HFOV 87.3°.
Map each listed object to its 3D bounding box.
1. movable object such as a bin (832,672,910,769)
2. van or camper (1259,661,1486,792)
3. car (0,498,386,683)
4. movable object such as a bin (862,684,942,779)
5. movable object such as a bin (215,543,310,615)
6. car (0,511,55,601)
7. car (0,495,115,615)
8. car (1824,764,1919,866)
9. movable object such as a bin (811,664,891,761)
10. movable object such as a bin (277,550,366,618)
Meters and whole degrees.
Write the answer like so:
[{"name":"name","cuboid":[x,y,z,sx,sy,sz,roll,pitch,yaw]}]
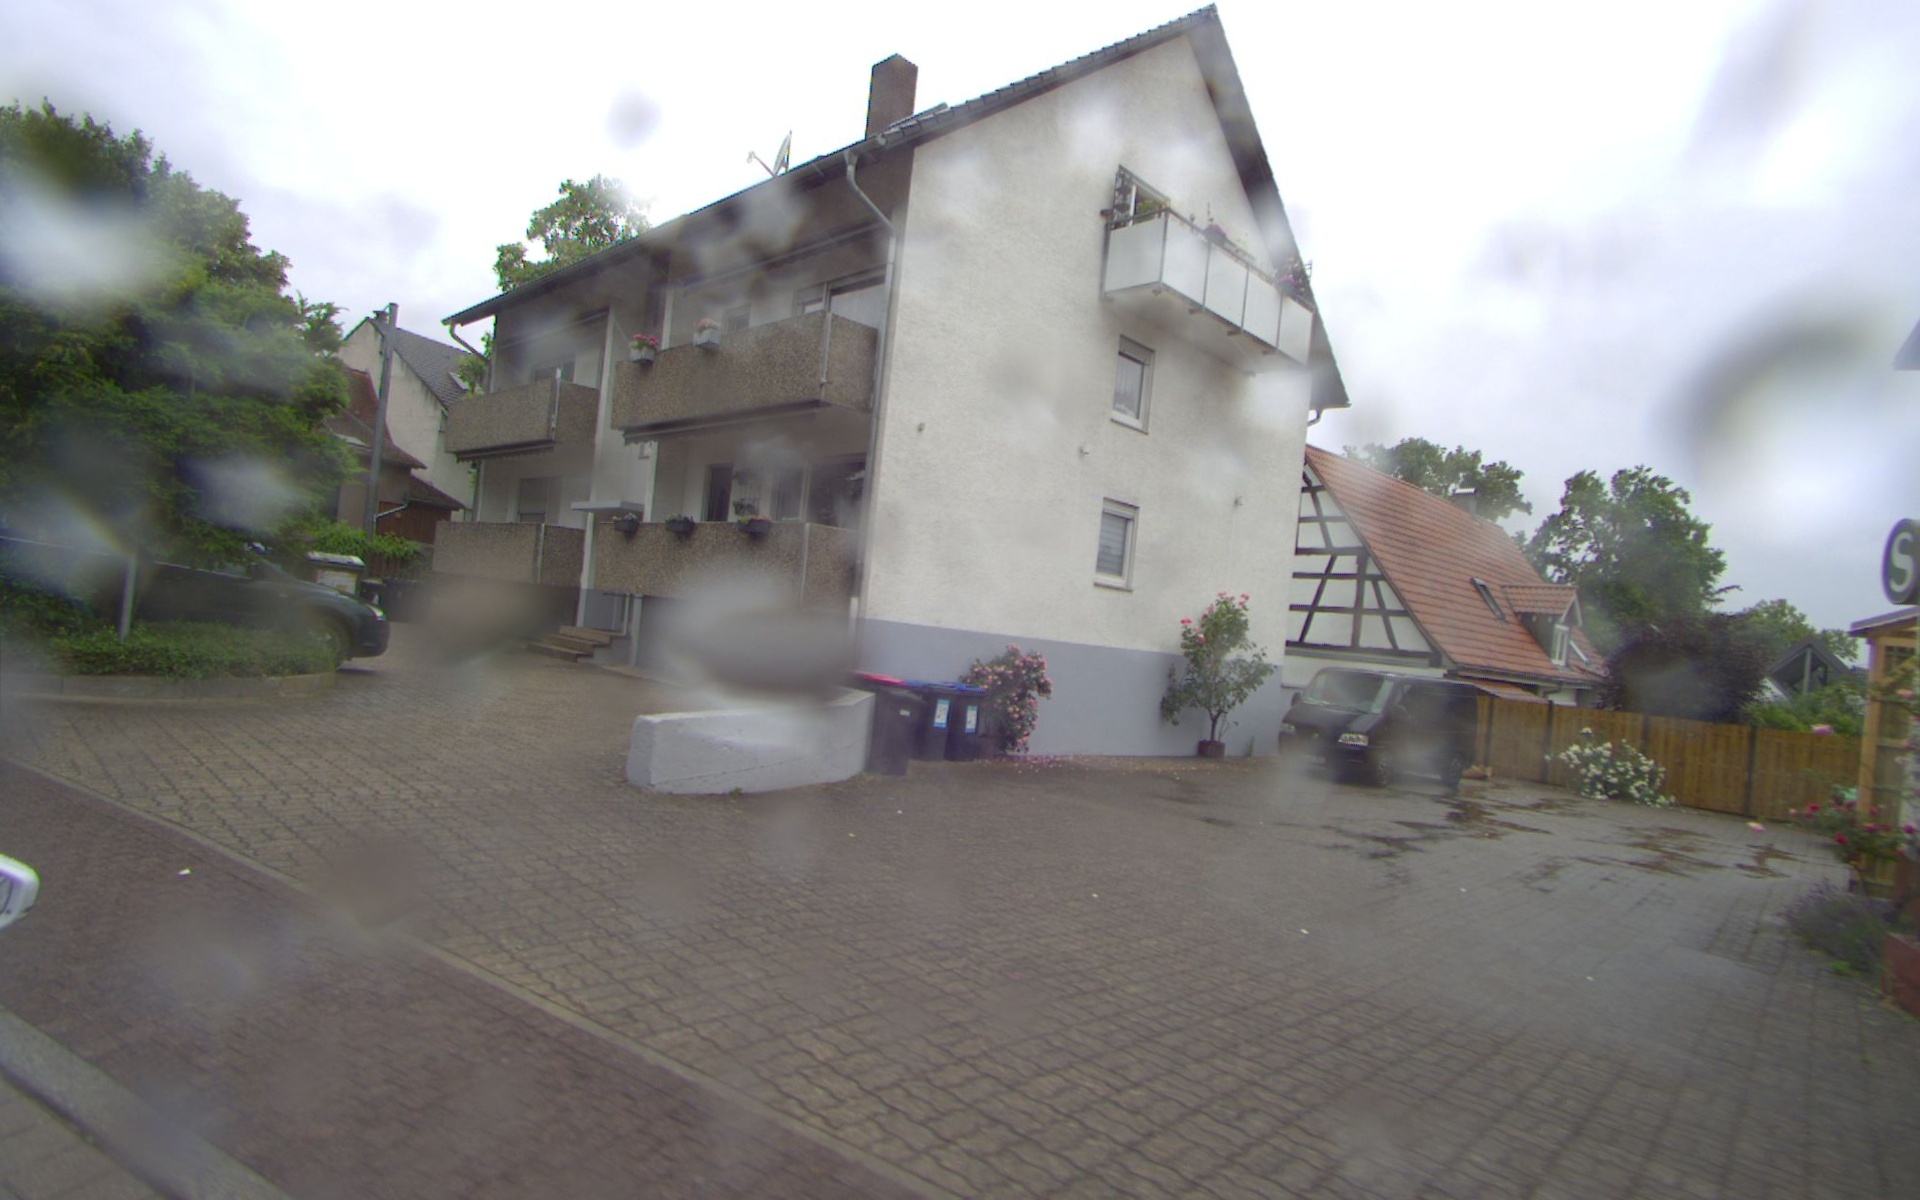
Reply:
[{"name":"movable object such as a bin","cuboid":[-1.094,1.476,12.376,0.620,1.078,0.564,9,-2,-36]},{"name":"van or camper","cuboid":[8.201,2.497,19.764,4.823,2.037,2.174,9,-2,-43]},{"name":"car","cuboid":[-8.523,-0.108,10.269,1.672,1.497,4.222,6,-2,42]},{"name":"movable object such as a bin","cuboid":[-0.670,1.497,11.537,0.618,0.959,0.653,9,-2,-24]},{"name":"movable object such as a bin","cuboid":[-15.664,-0.473,22.610,1.135,1.373,1.245,7,-2,29]},{"name":"car","cuboid":[-17.146,-0.929,15.846,1.724,1.395,3.954,7,-1,35]},{"name":"car","cuboid":[-15.050,-0.855,14.501,1.832,1.608,4.064,6,-2,41]},{"name":"car","cuboid":[16.351,3.655,16.052,3.775,1.392,1.625,5,-2,42]},{"name":"movable object such as a bin","cuboid":[-1.416,1.459,13.040,0.621,1.130,0.683,9,-2,-40]},{"name":"movable object such as a bin","cuboid":[-15.036,-0.367,23.724,1.135,1.373,1.245,7,-2,29]}]
